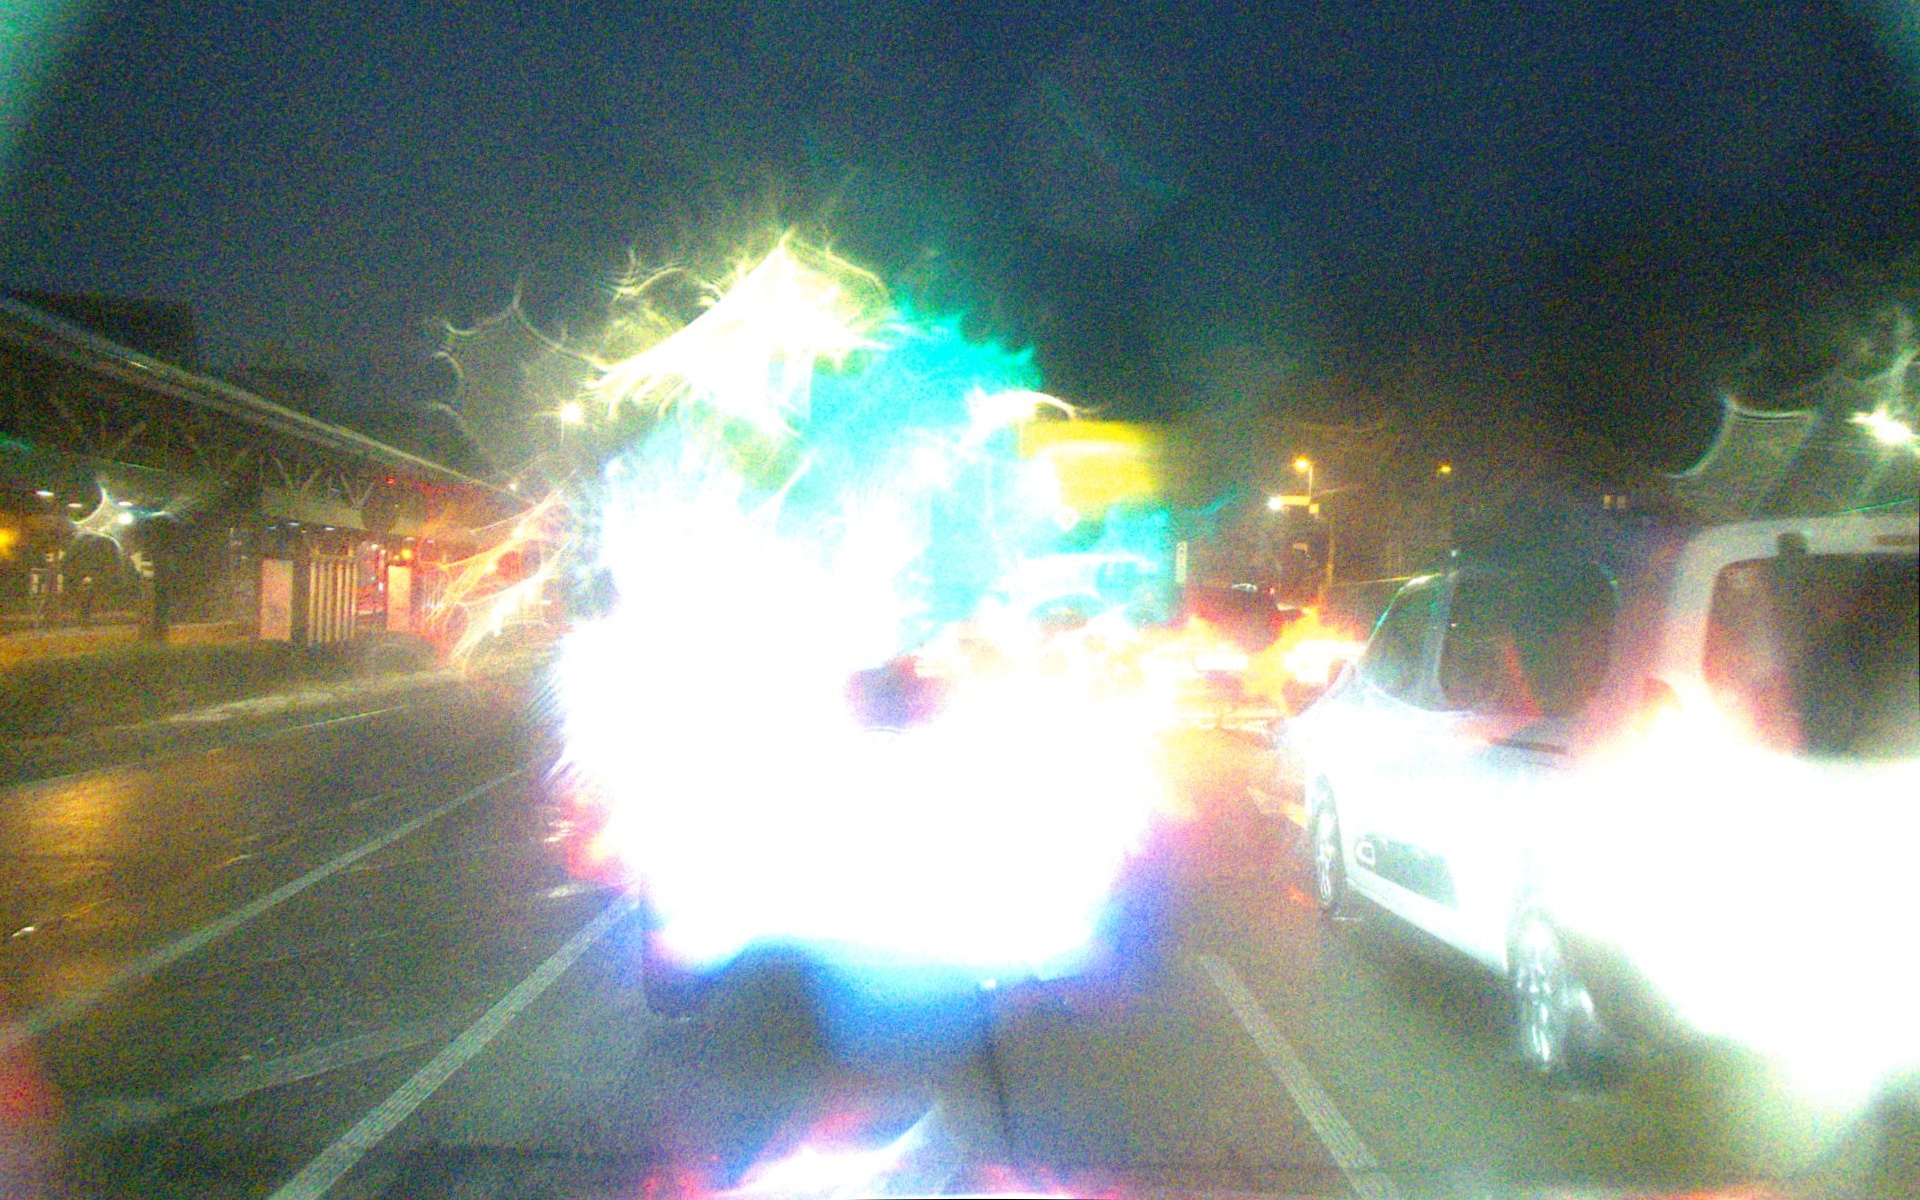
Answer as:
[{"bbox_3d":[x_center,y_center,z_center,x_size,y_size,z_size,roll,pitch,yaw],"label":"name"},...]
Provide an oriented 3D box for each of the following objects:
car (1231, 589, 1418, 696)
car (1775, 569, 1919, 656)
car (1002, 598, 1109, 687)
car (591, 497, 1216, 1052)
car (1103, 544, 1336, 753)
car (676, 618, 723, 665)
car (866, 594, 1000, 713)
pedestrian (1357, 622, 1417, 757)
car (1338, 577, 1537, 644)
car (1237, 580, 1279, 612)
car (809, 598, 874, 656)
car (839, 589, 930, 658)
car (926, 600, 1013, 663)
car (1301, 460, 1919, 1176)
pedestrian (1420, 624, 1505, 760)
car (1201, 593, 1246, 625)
[{"bbox_3d":[5.430,0.580,25.147,1.749,1.467,4.236,0,0,-2],"label":"car"},{"bbox_3d":[16.919,0.251,31.626,1.685,1.509,4.708,1,-1,18],"label":"car"},{"bbox_3d":[1.969,0.863,35.187,1.953,1.748,3.999,1,-1,-1],"label":"car"},{"bbox_3d":[-0.233,0.583,7.543,1.974,1.747,4.450,1,-1,-2],"label":"car"},{"bbox_3d":[2.811,0.509,18.804,1.929,2.083,3.999,1,-1,-1],"label":"car"},{"bbox_3d":[-12.173,1.906,77.084,1.978,1.919,4.441,2,1,-11],"label":"car"},{"bbox_3d":[-0.429,0.808,26.447,1.953,1.713,3.999,1,-1,-1],"label":"car"},{"bbox_3d":[5.629,1.169,21.817,0.610,1.731,0.540,1,-1,-3],"label":"pedestrian"},{"bbox_3d":[11.337,0.239,39.306,4.244,1.485,1.849,1,-1,28],"label":"car"},{"bbox_3d":[19.655,-0.264,109.256,1.953,2.049,3.999,1,-1,-1],"label":"car"},{"bbox_3d":[-4.068,0.911,56.403,1.956,1.856,3.993,1,-1,-8],"label":"car"},{"bbox_3d":[-2.130,0.635,45.736,1.958,1.763,3.990,1,-1,-11],"label":"car"},{"bbox_3d":[0.220,0.882,47.876,1.956,1.699,3.993,1,-1,-8],"label":"car"},{"bbox_3d":[2.758,0.612,6.601,1.814,1.898,4.339,1,-1,-1],"label":"car"},{"bbox_3d":[6.570,1.189,21.646,0.852,1.731,0.615,2,-1,-23],"label":"pedestrian"},{"bbox_3d":[14.646,0.511,91.999,1.827,1.675,3.962,-1,0,0],"label":"car"}]
